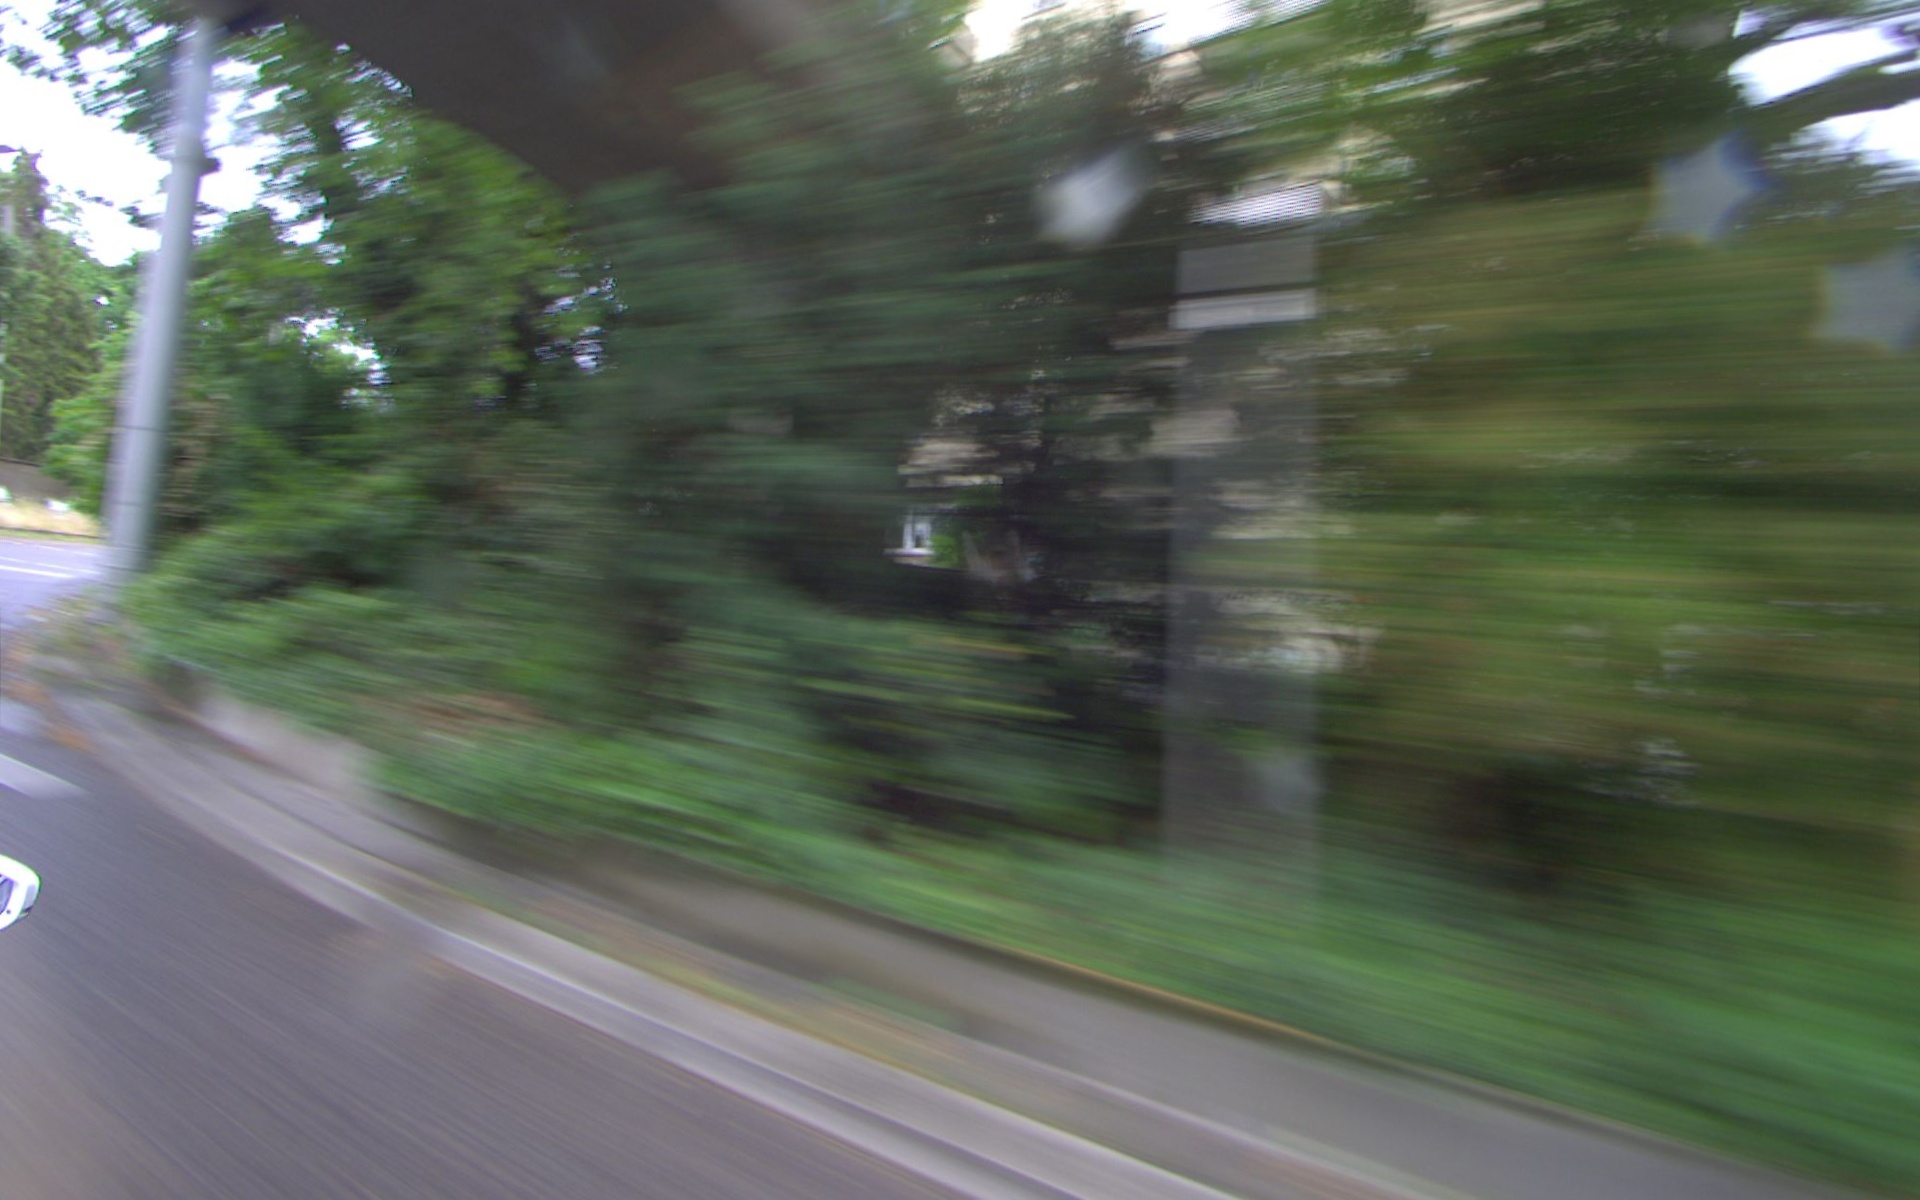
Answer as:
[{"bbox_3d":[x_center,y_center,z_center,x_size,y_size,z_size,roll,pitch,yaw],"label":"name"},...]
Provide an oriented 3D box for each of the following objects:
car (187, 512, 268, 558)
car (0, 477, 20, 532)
[{"bbox_3d":[-29.820,-2.584,40.905,4.164,1.575,1.781,2,-3,42],"label":"car"},{"bbox_3d":[-34.579,-3.465,35.306,4.214,1.824,1.752,5,-3,41],"label":"car"}]
